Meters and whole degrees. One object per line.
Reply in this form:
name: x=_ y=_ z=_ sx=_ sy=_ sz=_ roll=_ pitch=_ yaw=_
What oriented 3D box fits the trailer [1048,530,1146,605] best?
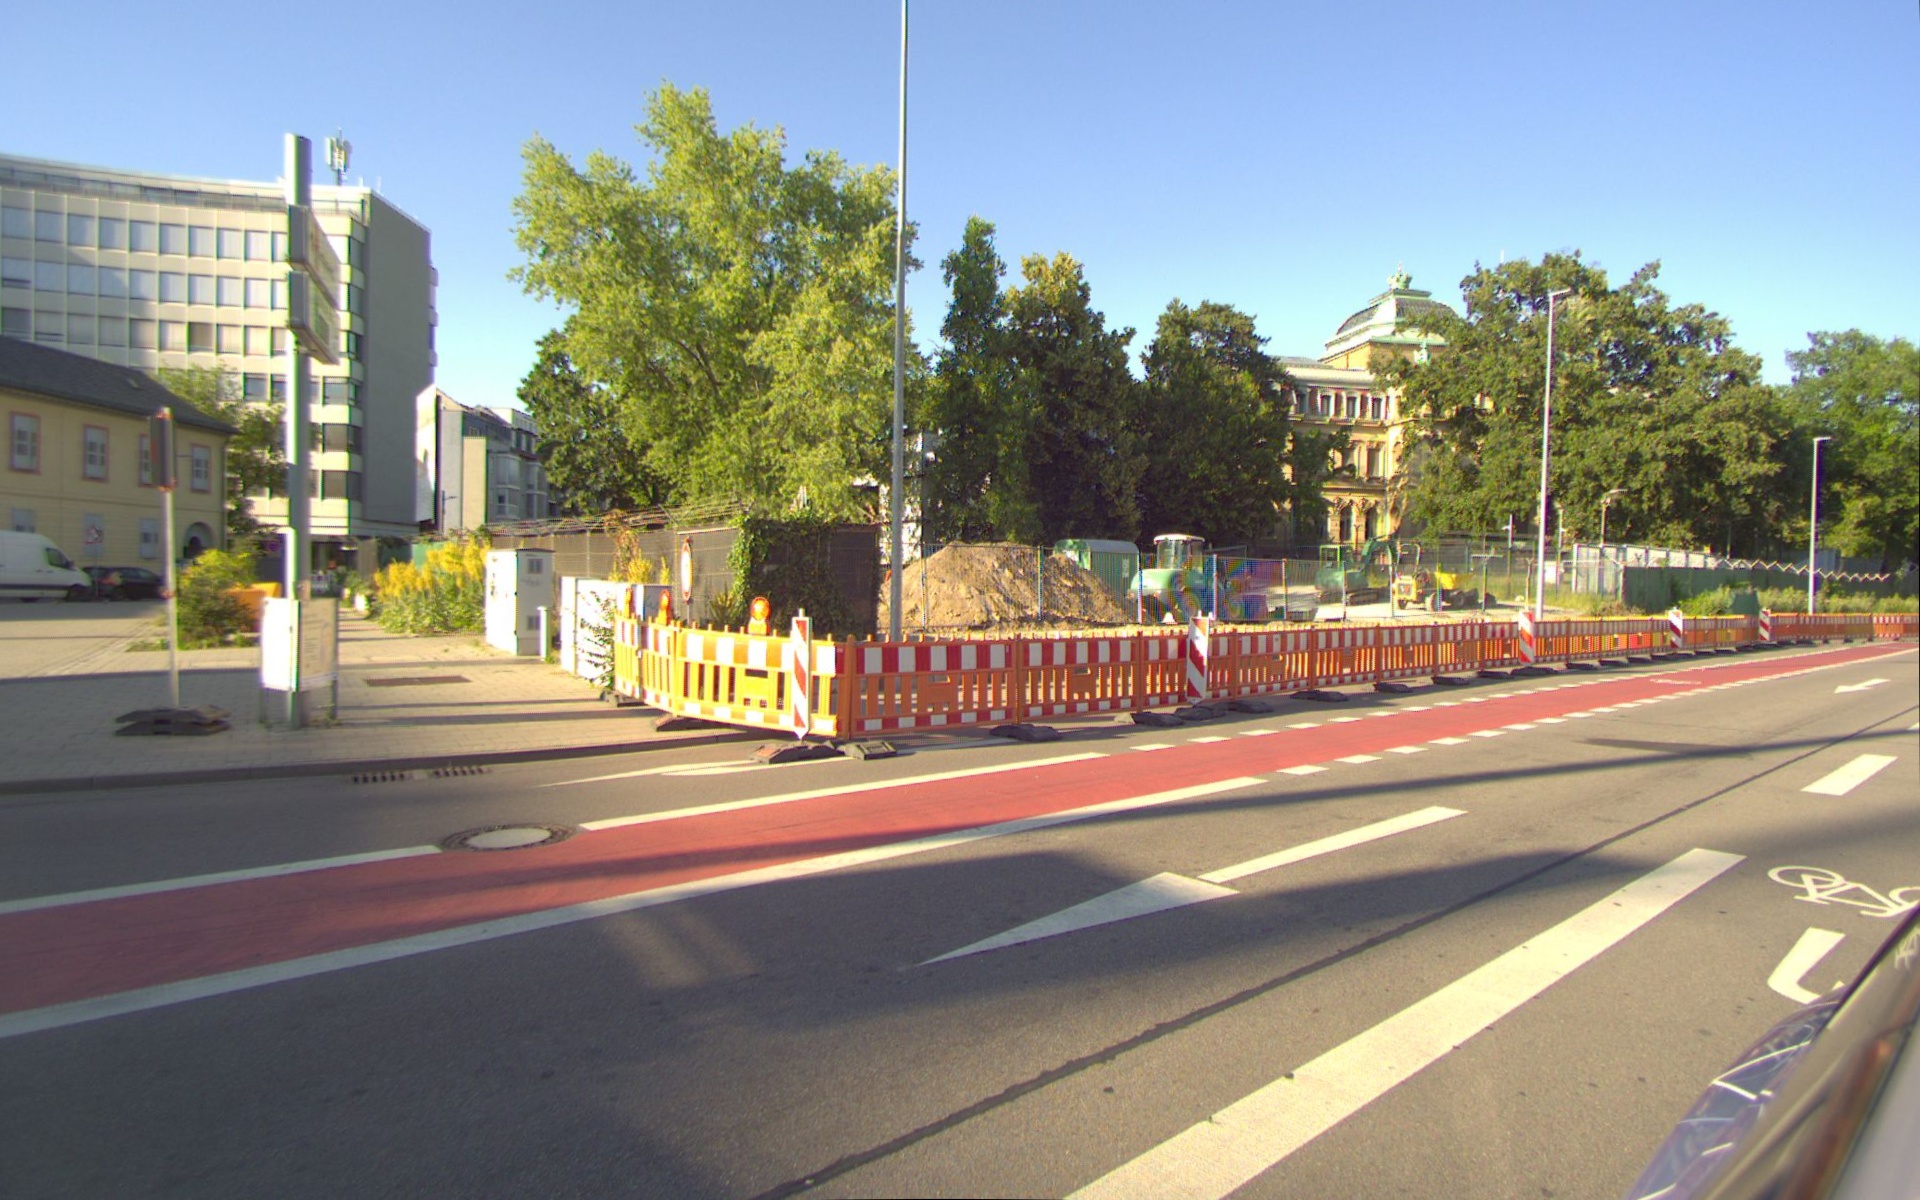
trailer: x=6.395 y=-1.558 z=47.038 sx=3.923 sy=3.126 sz=2.612 roll=-7 pitch=7 yaw=-43

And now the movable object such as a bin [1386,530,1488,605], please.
movable object such as a bin: x=19.699 y=-1.317 z=41.768 sx=3.922 sy=2.940 sz=2.001 roll=0 pitch=1 yaw=-33

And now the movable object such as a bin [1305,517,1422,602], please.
movable object such as a bin: x=18.151 y=-1.747 z=45.421 sx=5.395 sy=3.602 sz=2.283 roll=0 pitch=1 yaw=-36

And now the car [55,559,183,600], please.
car: x=-34.619 y=-0.852 z=41.814 sx=1.962 sy=1.593 sz=4.001 roll=1 pitch=1 yaw=0

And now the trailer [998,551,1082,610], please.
trailer: x=3.523 y=-0.920 z=44.677 sx=2.189 sy=2.349 sz=2.950 roll=-7 pitch=7 yaw=-43

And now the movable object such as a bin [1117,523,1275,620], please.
movable object such as a bin: x=7.330 y=-0.852 z=31.147 sx=4.855 sy=2.737 sz=2.280 roll=0 pitch=1 yaw=-41

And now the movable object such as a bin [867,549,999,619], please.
movable object such as a bin: x=-1.082 y=-0.690 z=38.509 sx=2.189 sy=2.349 sz=5.037 roll=-7 pitch=7 yaw=-43

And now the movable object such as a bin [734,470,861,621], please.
movable object such as a bin: x=-4.618 y=-1.395 z=27.673 sx=2.801 sy=3.602 sz=6.095 roll=1 pitch=1 yaw=-15
